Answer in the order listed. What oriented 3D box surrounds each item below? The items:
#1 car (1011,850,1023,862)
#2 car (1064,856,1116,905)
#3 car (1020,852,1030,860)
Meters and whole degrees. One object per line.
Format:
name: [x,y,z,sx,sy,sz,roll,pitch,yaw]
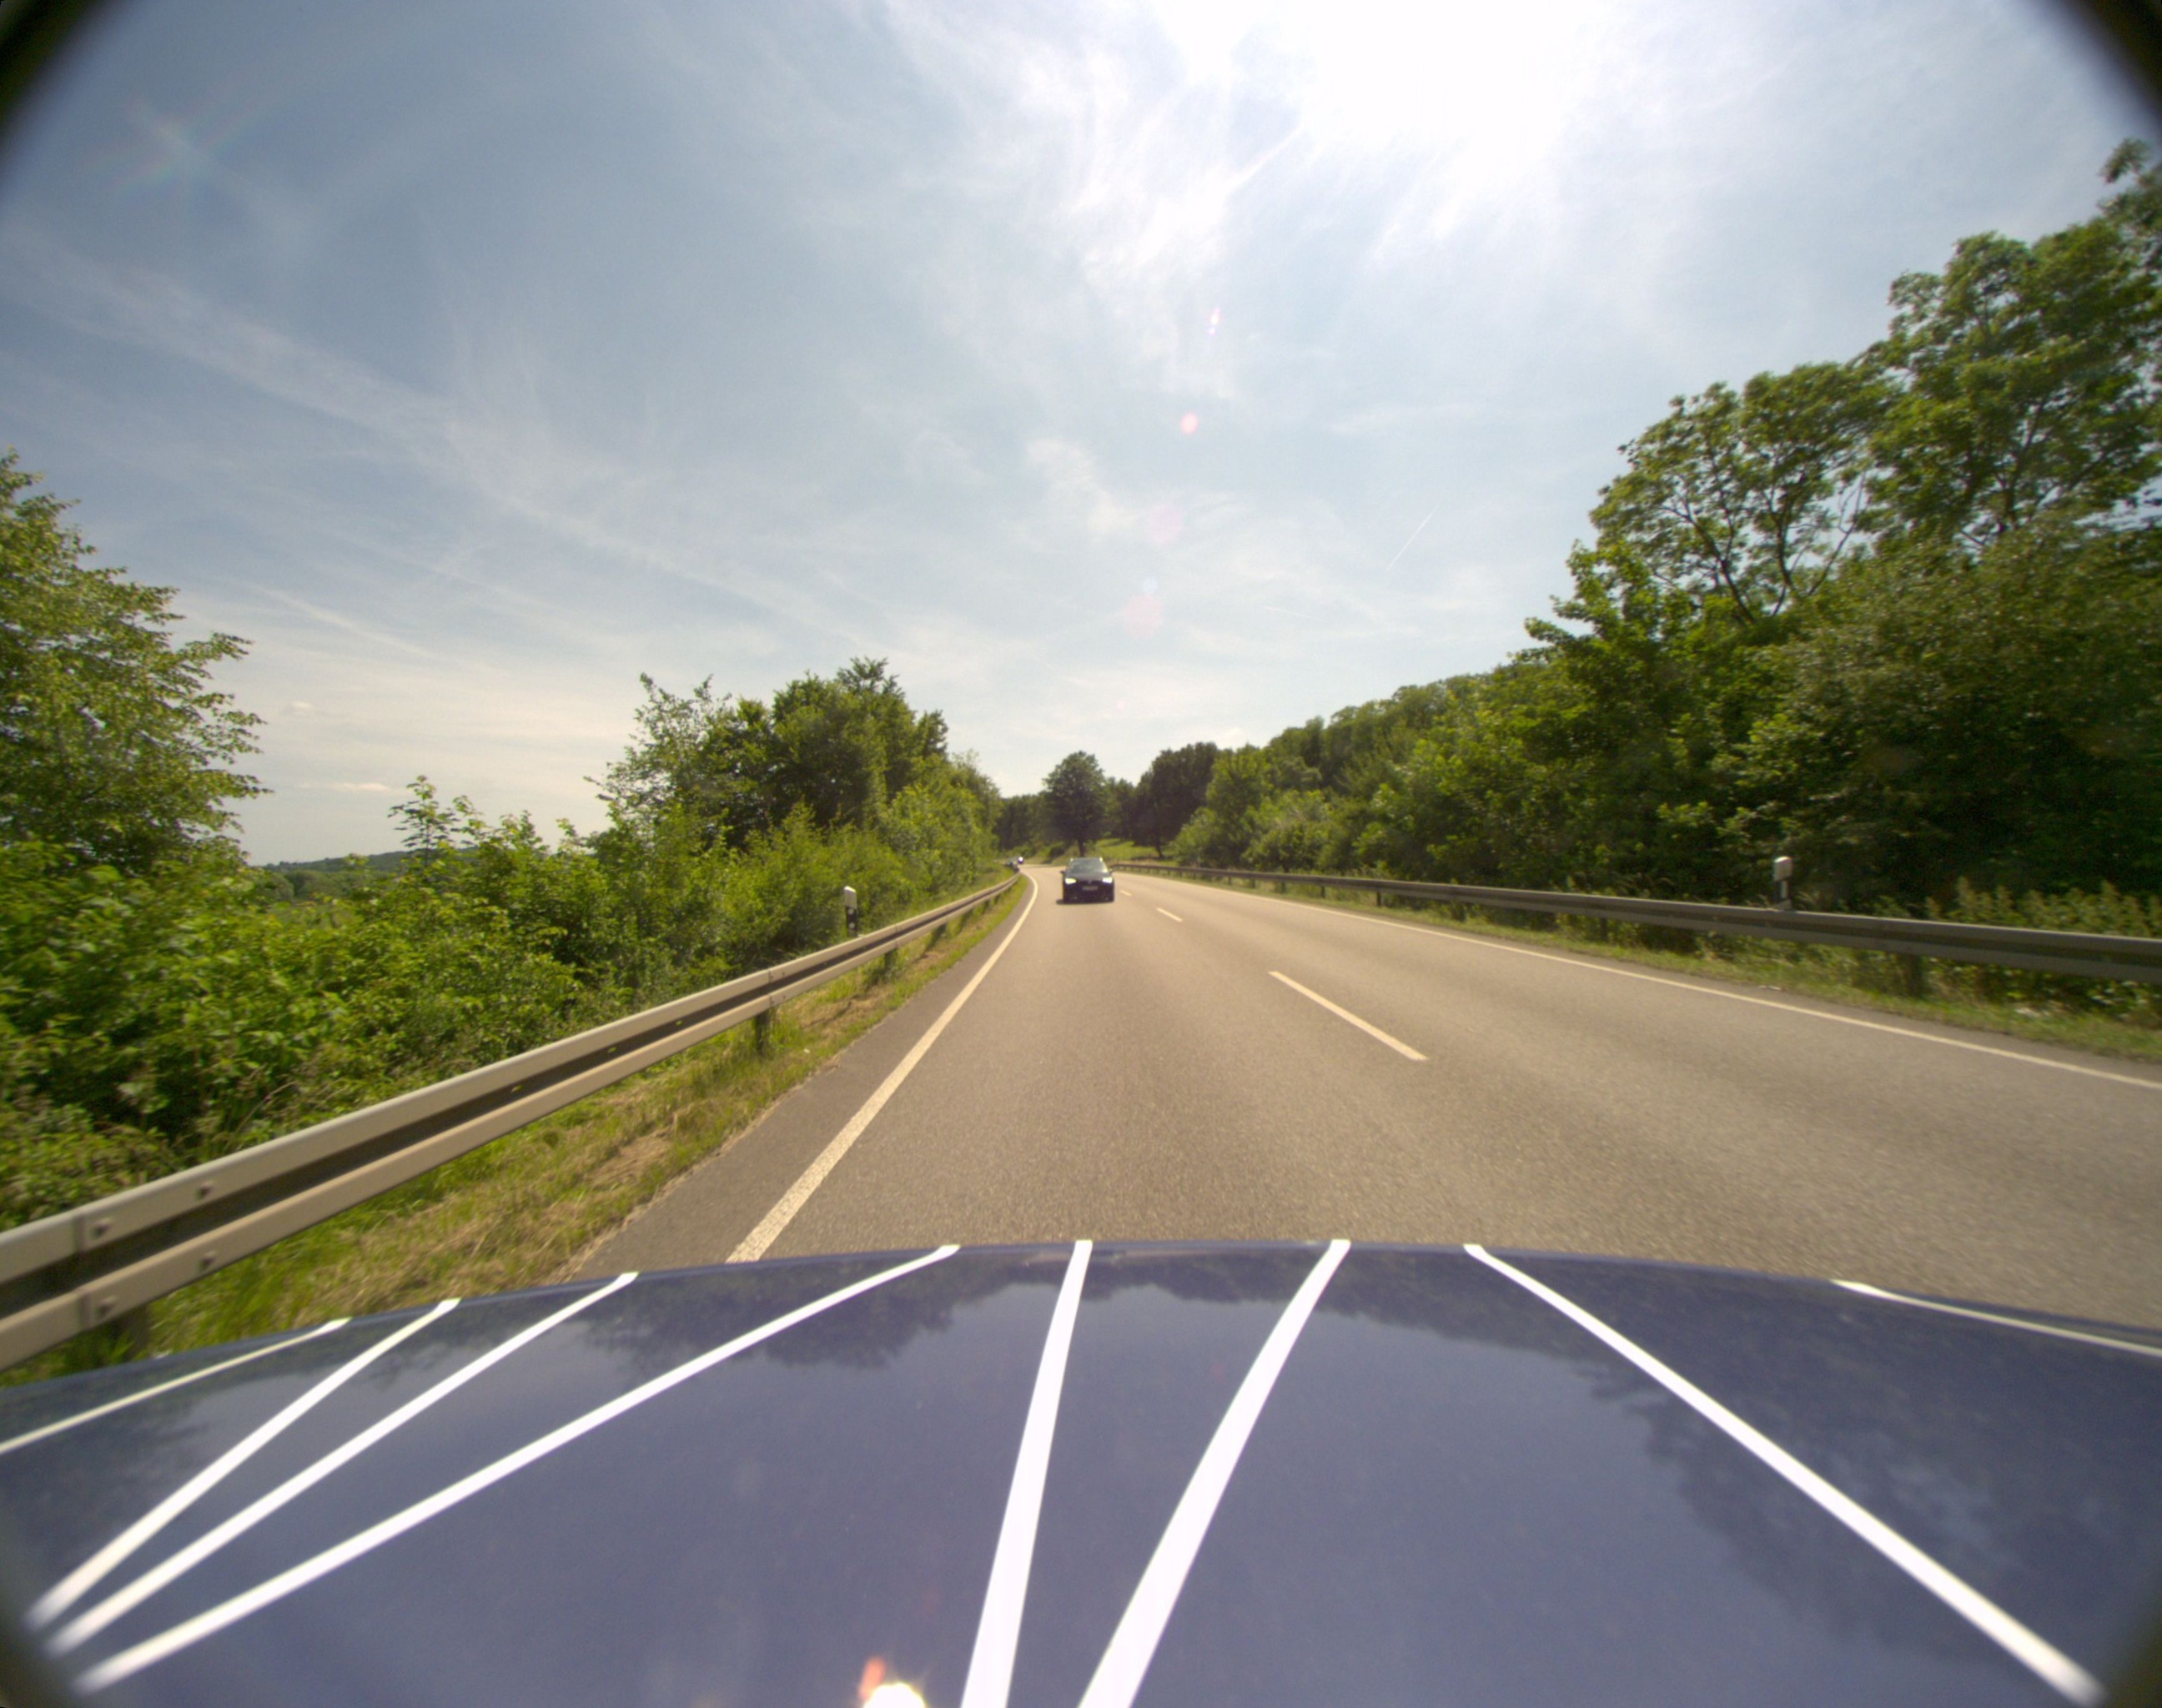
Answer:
car: [-11.163,0.319,132.672,1.999,2.002,3.997,-3,1,-6]
car: [0.262,0.891,26.867,1.662,1.531,3.486,-3,0,-1]
car: [-11.559,0.375,156.605,1.870,1.518,3.887,-2,0,-9]
